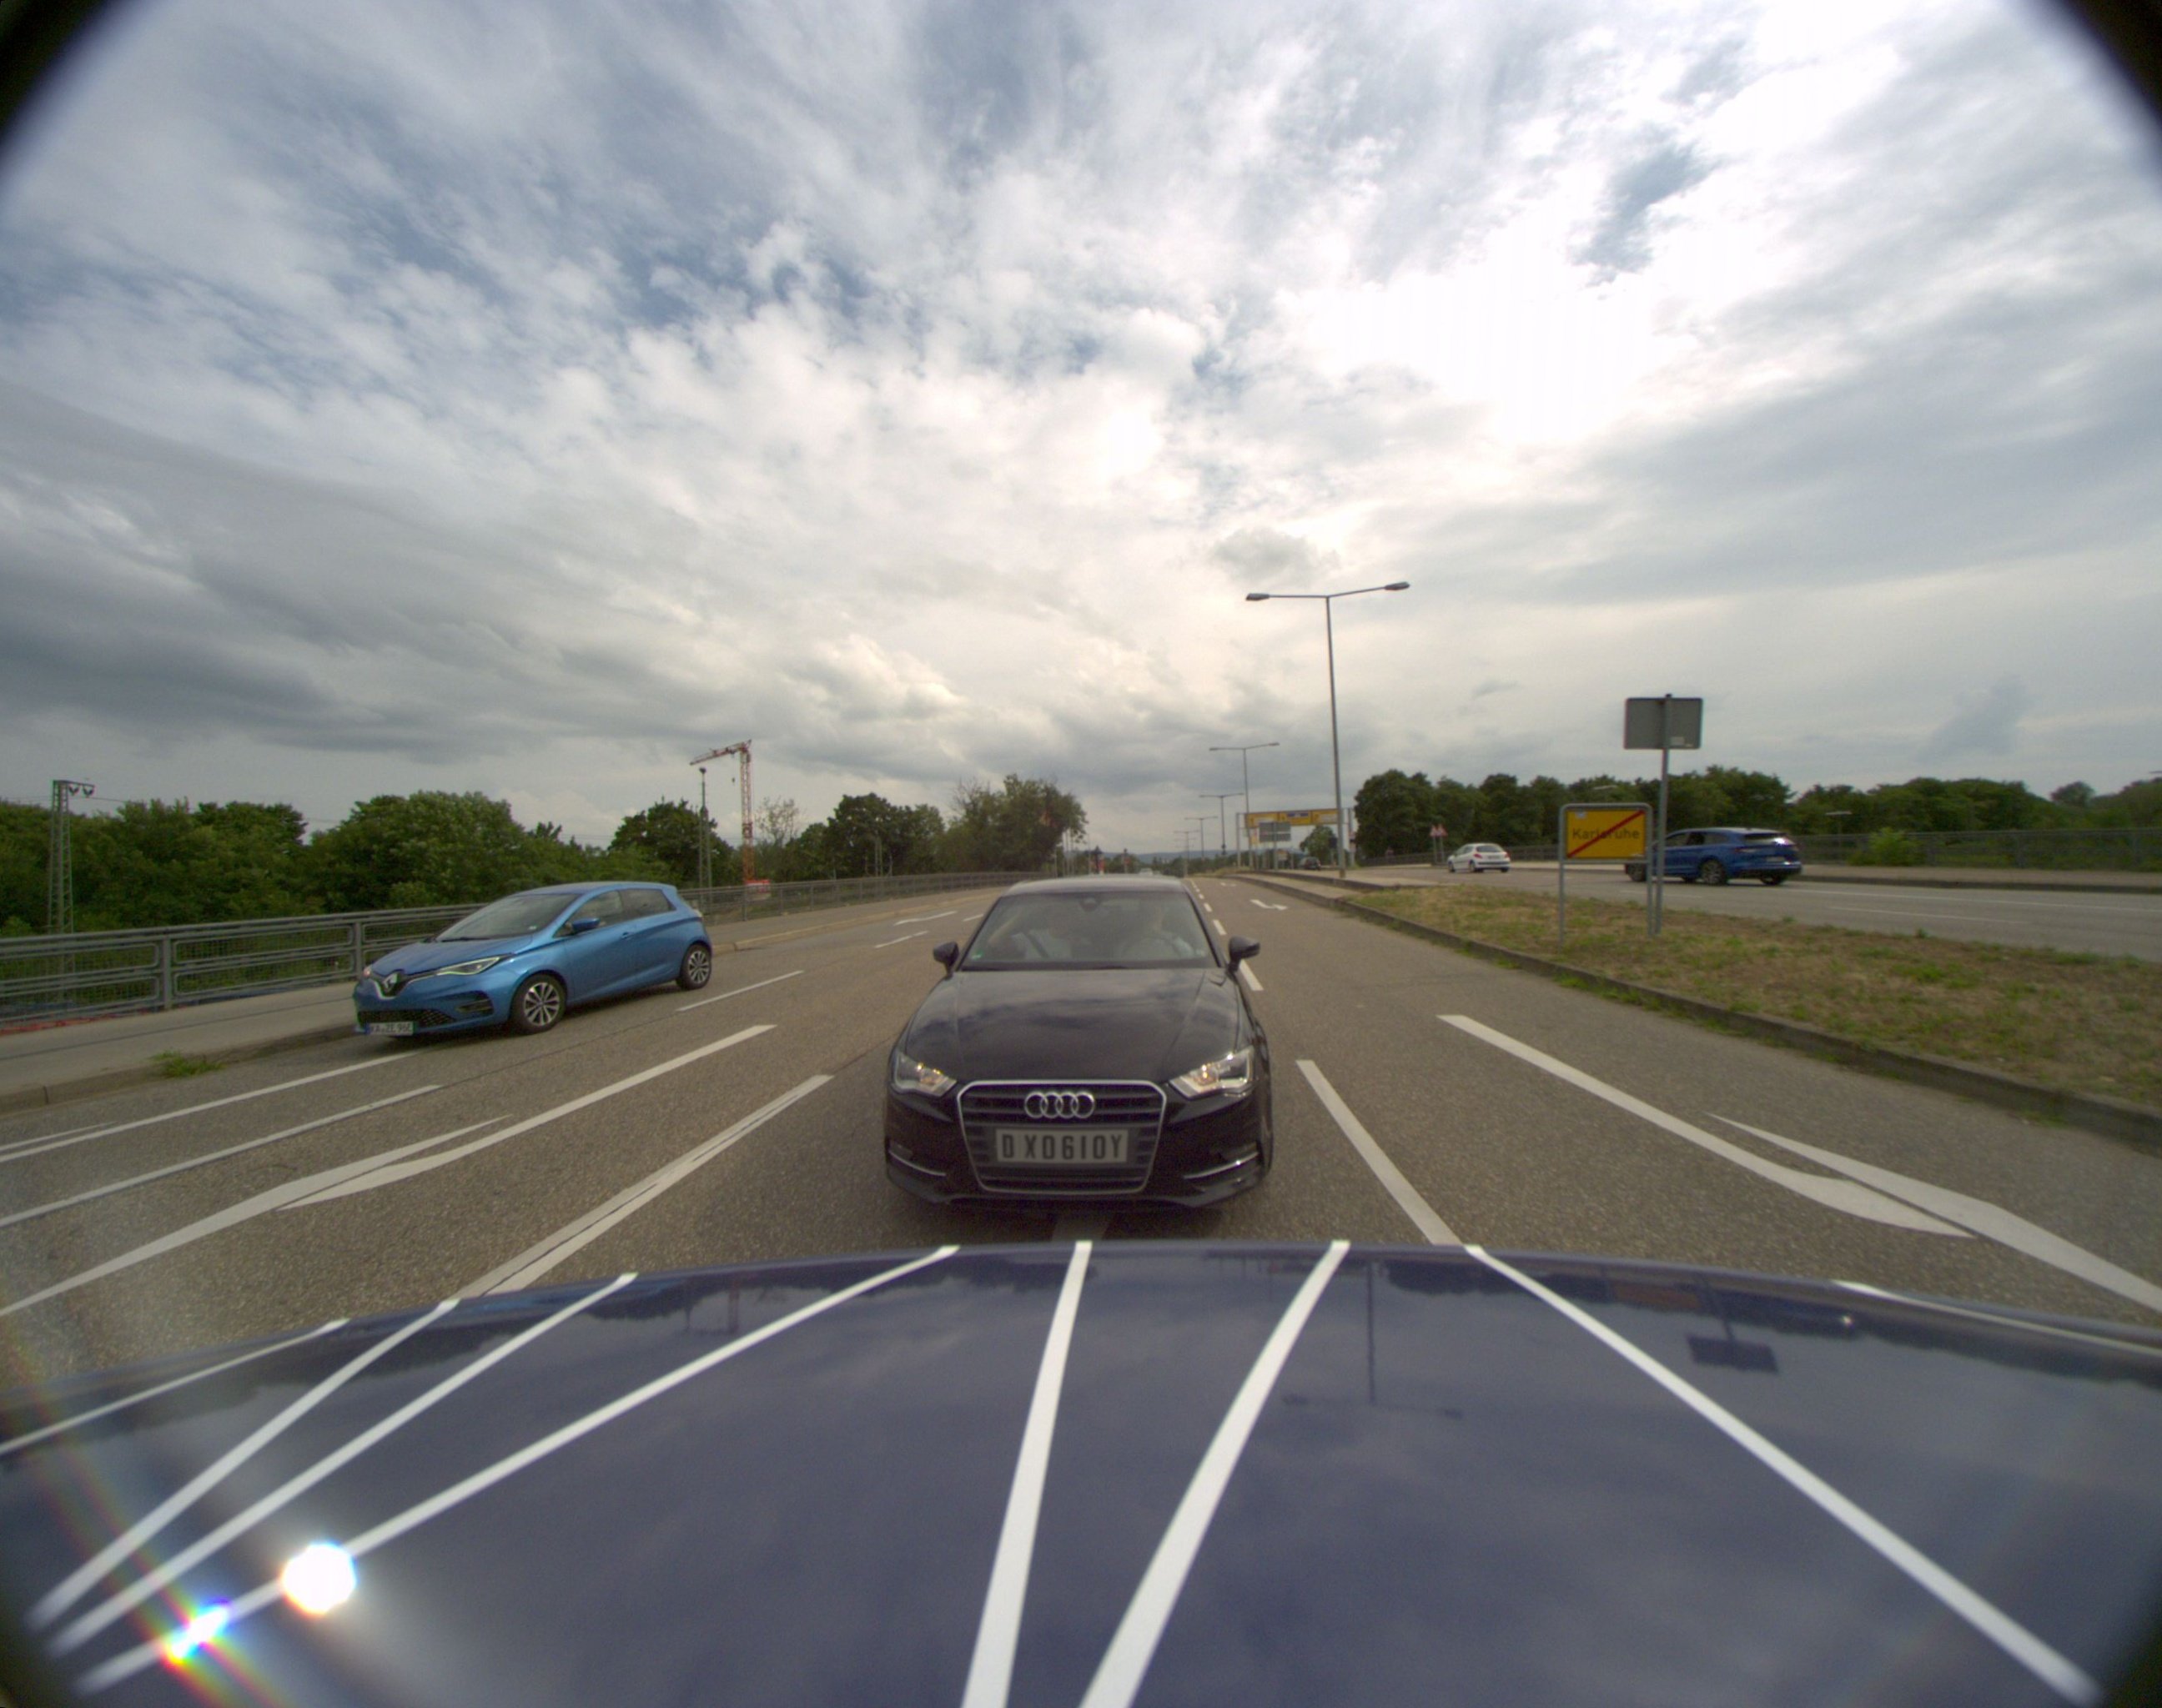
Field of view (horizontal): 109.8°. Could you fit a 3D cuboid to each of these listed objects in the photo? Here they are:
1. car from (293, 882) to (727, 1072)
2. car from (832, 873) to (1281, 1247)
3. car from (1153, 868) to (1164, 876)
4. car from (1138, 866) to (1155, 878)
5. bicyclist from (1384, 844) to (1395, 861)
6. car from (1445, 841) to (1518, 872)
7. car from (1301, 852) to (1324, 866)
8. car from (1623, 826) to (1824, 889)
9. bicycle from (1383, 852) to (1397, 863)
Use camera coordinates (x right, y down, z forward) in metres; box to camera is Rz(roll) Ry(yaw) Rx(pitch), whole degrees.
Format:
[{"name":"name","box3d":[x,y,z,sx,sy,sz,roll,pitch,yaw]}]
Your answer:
[{"name":"car","box3d":[-6.289,1.245,9.065,1.724,1.512,3.952,-4,0,9]},{"name":"car","box3d":[0.149,0.932,5.531,1.851,1.355,4.731,-2,0,7]},{"name":"car","box3d":[14.516,3.425,142.546,1.860,1.335,4.002,-2,0,7]},{"name":"car","box3d":[7.921,2.150,91.753,1.860,1.335,4.002,-2,0,7]},{"name":"bicyclist","box3d":[30.394,-0.168,74.874,0.685,1.662,0.848,-3,0,7]},{"name":"car","box3d":[20.284,0.084,38.643,1.730,1.437,3.876,-2,1,2]},{"name":"car","box3d":[24.034,0.504,78.975,1.796,1.410,4.003,-2,0,10]},{"name":"car","box3d":[18.163,0.075,21.822,1.948,1.551,4.463,-2,0,-1]},{"name":"bicycle","box3d":[30.451,0.378,74.921,0.685,1.047,1.995,-3,0,7]}]
